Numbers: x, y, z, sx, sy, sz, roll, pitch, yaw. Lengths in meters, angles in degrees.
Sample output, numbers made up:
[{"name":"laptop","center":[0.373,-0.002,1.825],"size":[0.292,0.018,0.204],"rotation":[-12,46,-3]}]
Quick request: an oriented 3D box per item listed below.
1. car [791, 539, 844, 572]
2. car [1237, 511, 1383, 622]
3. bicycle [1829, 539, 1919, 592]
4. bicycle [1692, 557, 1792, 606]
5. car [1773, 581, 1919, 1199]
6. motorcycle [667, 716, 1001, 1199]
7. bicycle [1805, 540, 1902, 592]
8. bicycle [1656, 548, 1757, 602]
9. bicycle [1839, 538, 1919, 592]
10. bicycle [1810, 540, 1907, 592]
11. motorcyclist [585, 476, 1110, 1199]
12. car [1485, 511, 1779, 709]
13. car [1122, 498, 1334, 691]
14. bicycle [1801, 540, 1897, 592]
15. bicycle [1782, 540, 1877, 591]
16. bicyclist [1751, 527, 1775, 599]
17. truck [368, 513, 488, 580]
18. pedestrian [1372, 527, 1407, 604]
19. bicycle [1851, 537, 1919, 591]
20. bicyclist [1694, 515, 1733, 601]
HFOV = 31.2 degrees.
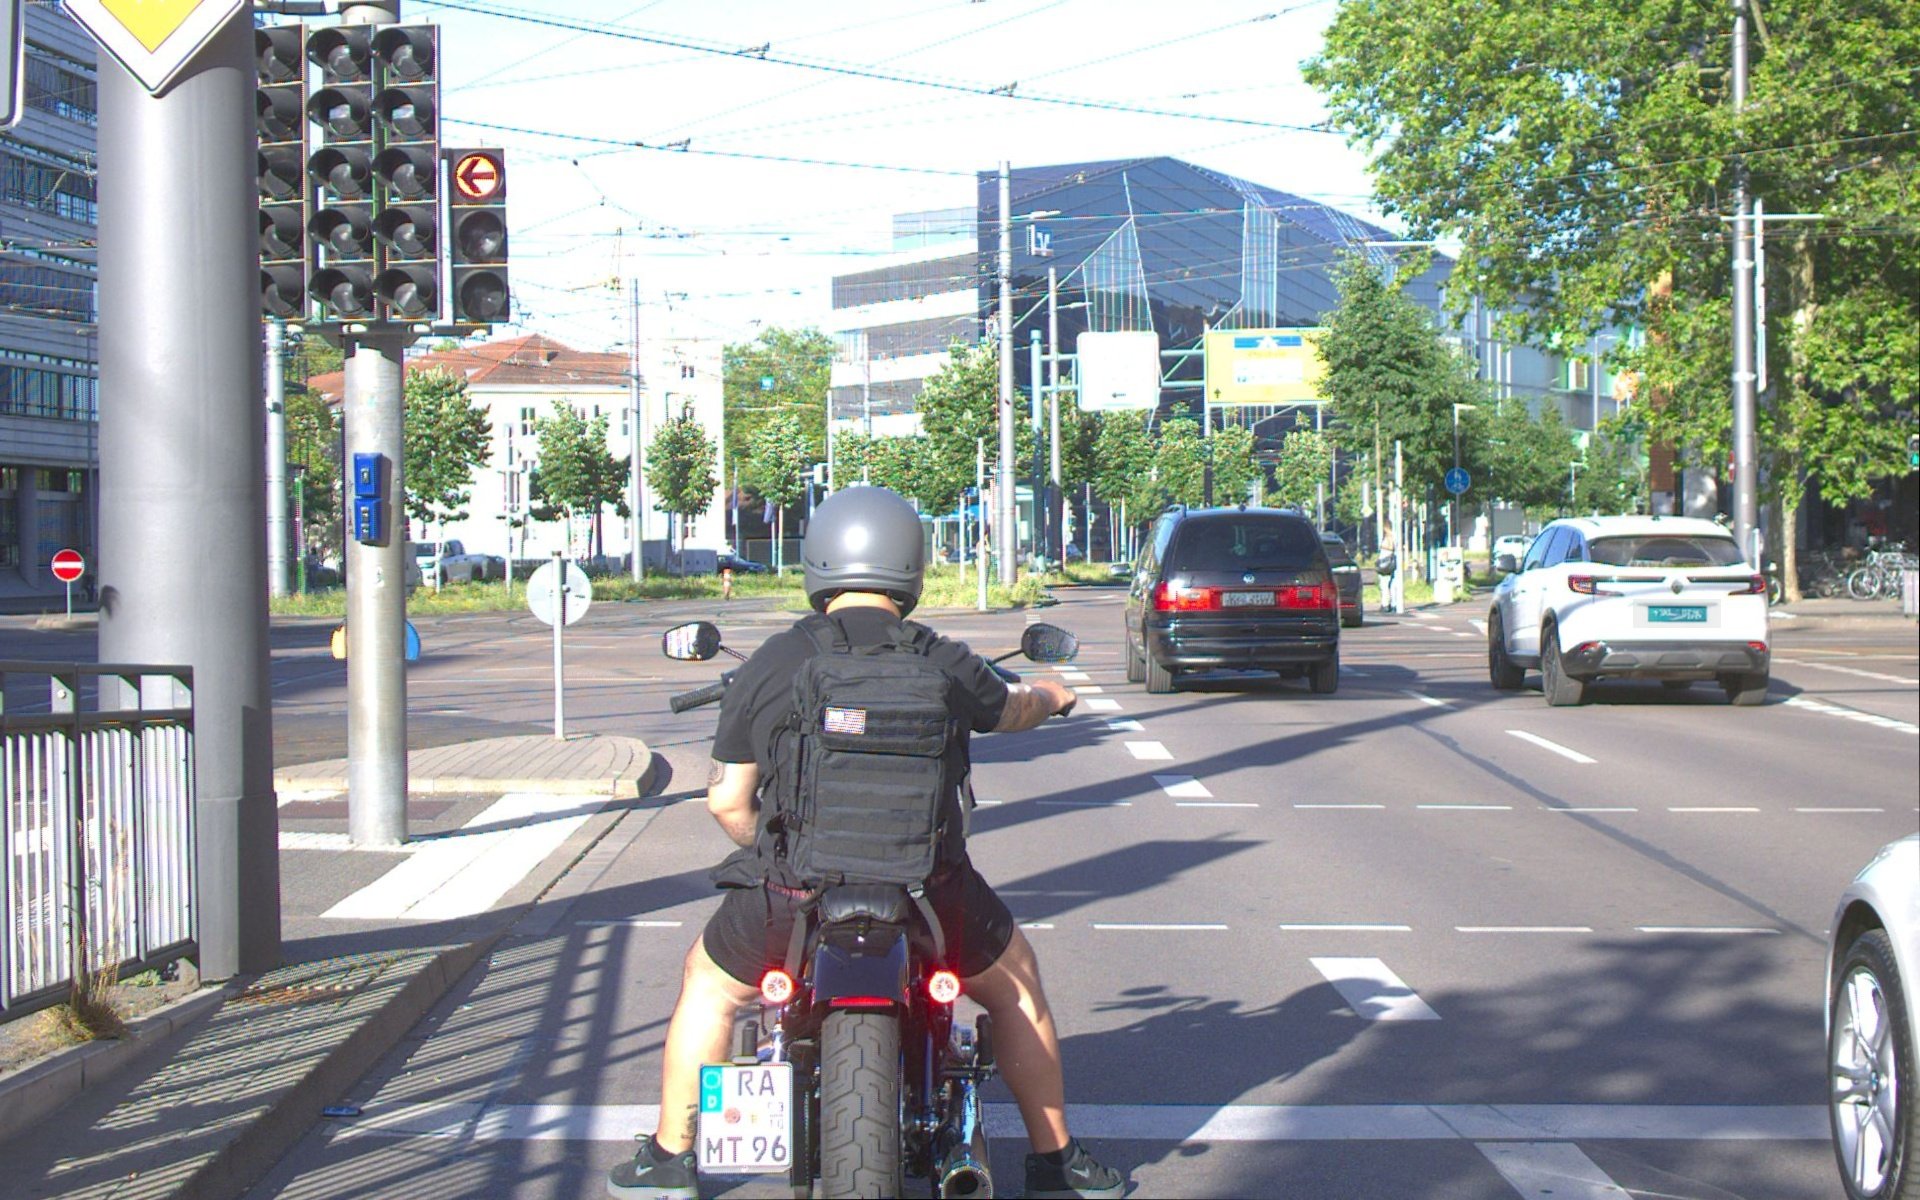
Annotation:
[{"name":"car","center":[-6.322,-1.988,153.438],"size":[1.825,1.425,4.529],"rotation":[-1,1,4]},{"name":"car","center":[5.557,-0.532,55.045],"size":[1.803,1.672,4.041],"rotation":[1,0,-1]},{"name":"bicycle","center":[18.483,-0.691,69.167],"size":[1.880,1.043,0.360],"rotation":[1,0,-1]},{"name":"bicycle","center":[15.005,-0.353,65.973],"size":[1.828,0.922,0.357],"rotation":[1,0,23]},{"name":"car","center":[2.780,0.710,5.744],"size":[1.731,1.452,4.418],"rotation":[1,0,-1]},{"name":"motorcycle","center":[-0.244,0.833,7.398],"size":[0.600,1.032,2.234],"rotation":[1,1,-1]},{"name":"bicycle","center":[18.409,-0.706,70.841],"size":[1.880,1.043,0.360],"rotation":[1,1,-1]},{"name":"bicycle","center":[14.572,-0.493,67.092],"size":[1.872,1.040,0.536],"rotation":[0,0,19]},{"name":"bicycle","center":[18.467,-0.698,68.352],"size":[1.880,1.043,0.360],"rotation":[1,0,-1]},{"name":"bicycle","center":[18.378,-0.691,70.355],"size":[1.880,1.043,0.360],"rotation":[1,0,-1]},{"name":"motorcyclist","center":[-0.226,0.543,7.252],"size":[1.030,1.588,0.873],"rotation":[0,1,-1]},{"name":"car","center":[5.819,0.031,30.204],"size":[1.731,1.593,4.041],"rotation":[1,2,0]},{"name":"car","center":[2.458,-0.060,32.348],"size":[1.803,1.672,4.041],"rotation":[1,0,2]},{"name":"bicycle","center":[18.454,-0.716,71.342],"size":[1.880,1.043,0.360],"rotation":[1,1,-1]},{"name":"bicycle","center":[18.331,-0.736,72.491],"size":[1.880,1.043,0.360],"rotation":[1,1,-1]},{"name":"bicyclist","center":[15.372,-0.706,65.814],"size":[0.381,1.368,0.345],"rotation":[1,0,22]},{"name":"truck","center":[-16.049,-1.604,104.050],"size":[1.994,1.873,5.154],"rotation":[-3,0,10]},{"name":"pedestrian","center":[8.796,-0.708,70.470],"size":[0.587,1.551,0.489],"rotation":[1,0,-8]},{"name":"bicycle","center":[18.502,-0.704,67.570],"size":[1.880,1.043,0.360],"rotation":[1,0,-1]},{"name":"bicyclist","center":[14.692,-0.809,67.051],"size":[0.688,1.667,0.540],"rotation":[0,0,19]}]
